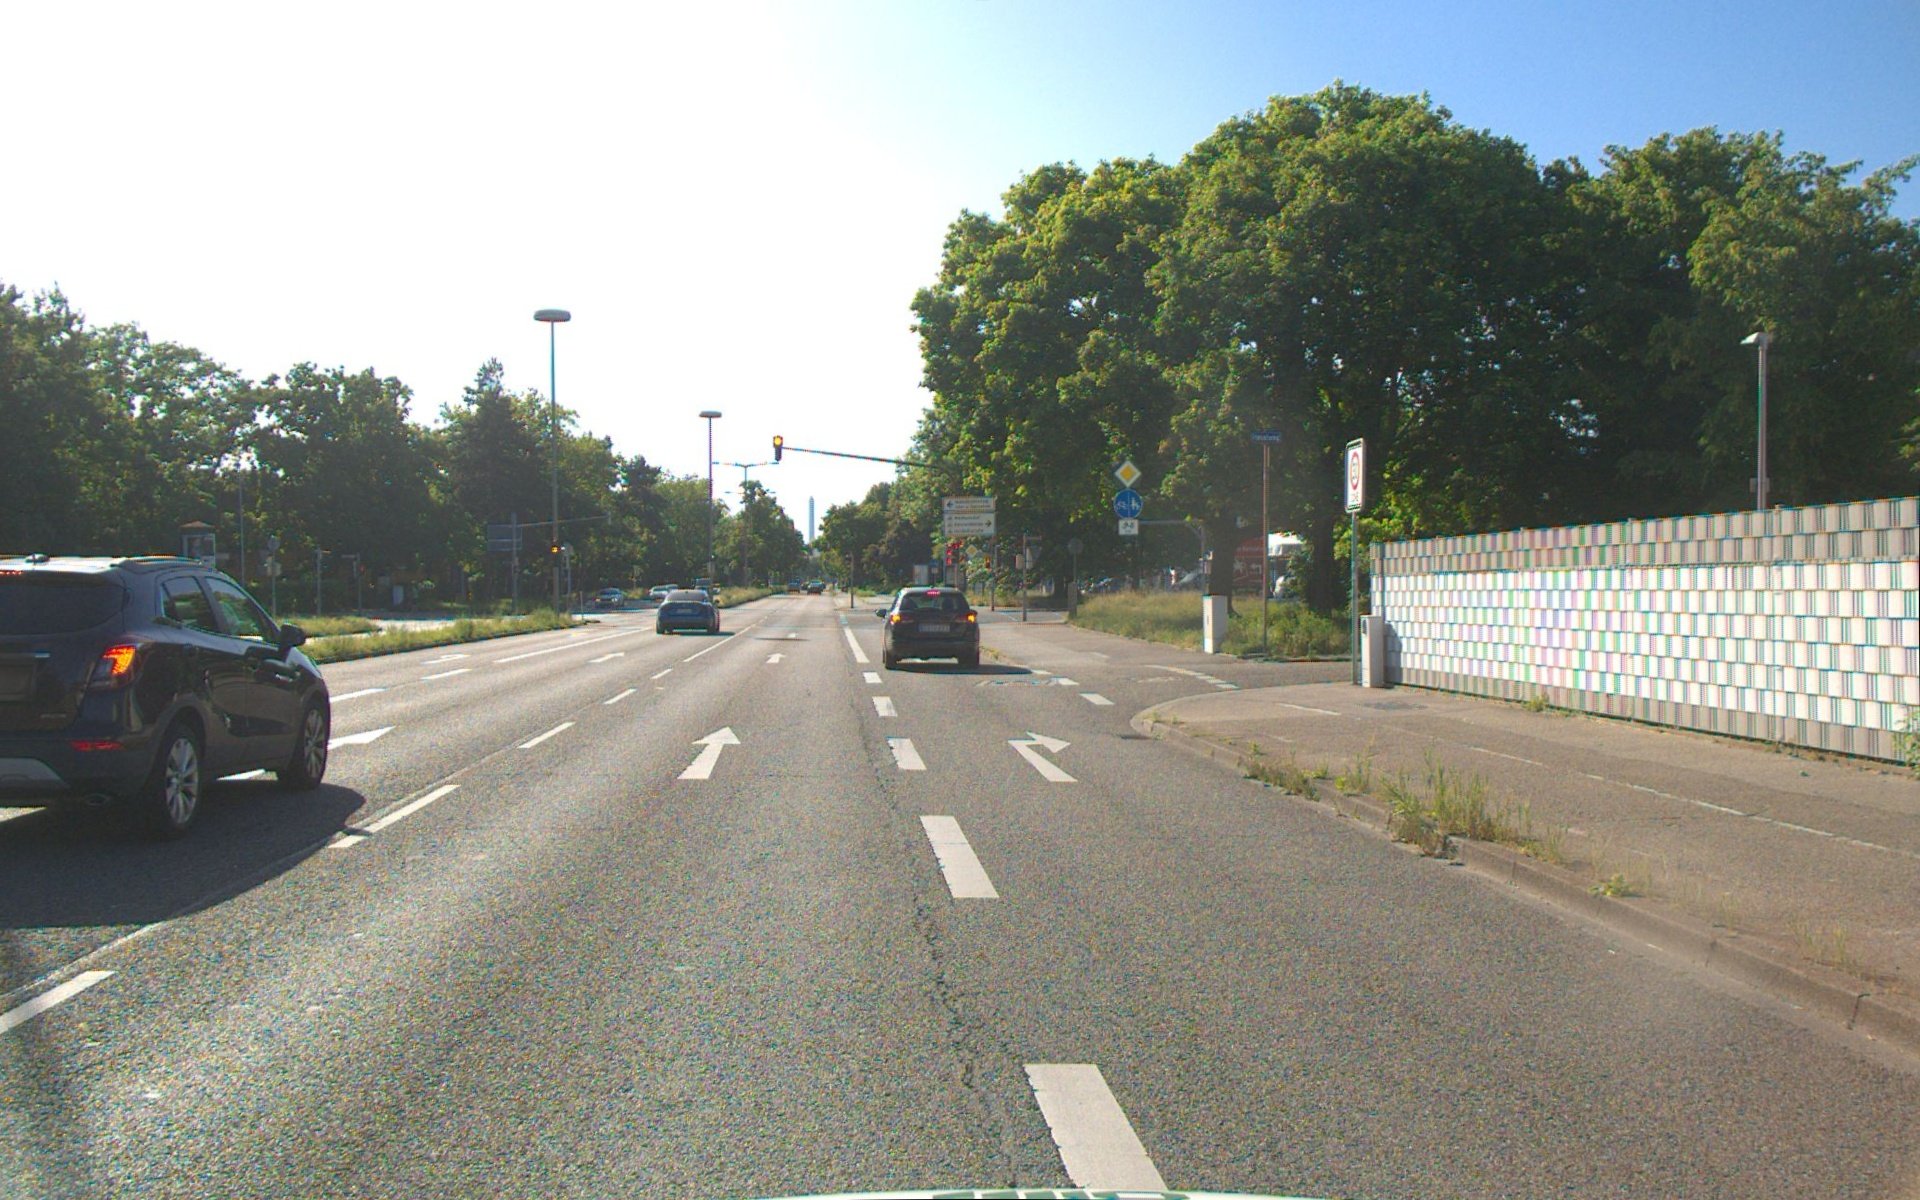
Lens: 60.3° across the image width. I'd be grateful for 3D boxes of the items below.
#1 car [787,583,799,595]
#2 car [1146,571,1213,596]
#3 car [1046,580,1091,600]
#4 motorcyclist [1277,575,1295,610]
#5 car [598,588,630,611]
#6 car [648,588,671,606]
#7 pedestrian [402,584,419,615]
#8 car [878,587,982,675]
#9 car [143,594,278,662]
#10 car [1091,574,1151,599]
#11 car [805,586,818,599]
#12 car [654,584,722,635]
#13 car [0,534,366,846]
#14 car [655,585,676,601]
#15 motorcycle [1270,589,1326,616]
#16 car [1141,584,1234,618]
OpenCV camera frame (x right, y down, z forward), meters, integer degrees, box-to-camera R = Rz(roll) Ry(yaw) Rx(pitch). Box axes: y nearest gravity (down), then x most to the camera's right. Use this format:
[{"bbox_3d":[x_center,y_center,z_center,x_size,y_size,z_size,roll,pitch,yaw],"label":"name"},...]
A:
[{"bbox_3d":[-24.685,-1.650,244.311,1.789,1.643,3.834,0,-3,-7],"label":"car"},{"bbox_3d":[13.715,-1.028,103.452,3.785,1.508,1.792,1,0,-24],"label":"car"},{"bbox_3d":[9.543,-0.893,145.456,3.641,1.714,1.701,1,0,-8],"label":"car"},{"bbox_3d":[16.064,-0.369,81.503,0.842,1.709,0.835,1,0,12],"label":"motorcyclist"},{"bbox_3d":[-26.670,-0.076,127.573,1.827,1.713,4.256,1,0,-4],"label":"car"},{"bbox_3d":[-29.914,-0.339,164.680,1.827,1.713,3.996,1,0,-4],"label":"car"},{"bbox_3d":[-33.914,-0.037,102.103,0.828,1.867,0.549,0,-1,-1],"label":"pedestrian"},{"bbox_3d":[-0.622,0.541,31.145,1.721,1.535,3.805,0,0,-5],"label":"car"},{"bbox_3d":[-20.236,0.734,44.858,1.874,1.733,4.404,1,0,-4],"label":"car"},{"bbox_3d":[10.722,-0.872,110.111,3.807,1.590,1.782,1,0,-37],"label":"car"},{"bbox_3d":[-19.317,-0.994,215.026,1.698,1.612,3.836,1,0,-5],"label":"car"},{"bbox_3d":[-8.905,0.304,54.414,1.852,1.579,3.996,-1,0,-5],"label":"car"},{"bbox_3d":[-5.460,0.475,11.045,1.662,1.660,4.413,-1,0,-4],"label":"car"},{"bbox_3d":[-33.037,-0.819,185.728,1.827,1.713,3.996,1,0,-4],"label":"car"},{"bbox_3d":[16.654,0.112,81.406,2.666,1.293,0.835,1,0,12],"label":"motorcycle"},{"bbox_3d":[11.280,0.062,82.145,4.520,1.601,2.001,-1,0,7],"label":"car"}]
